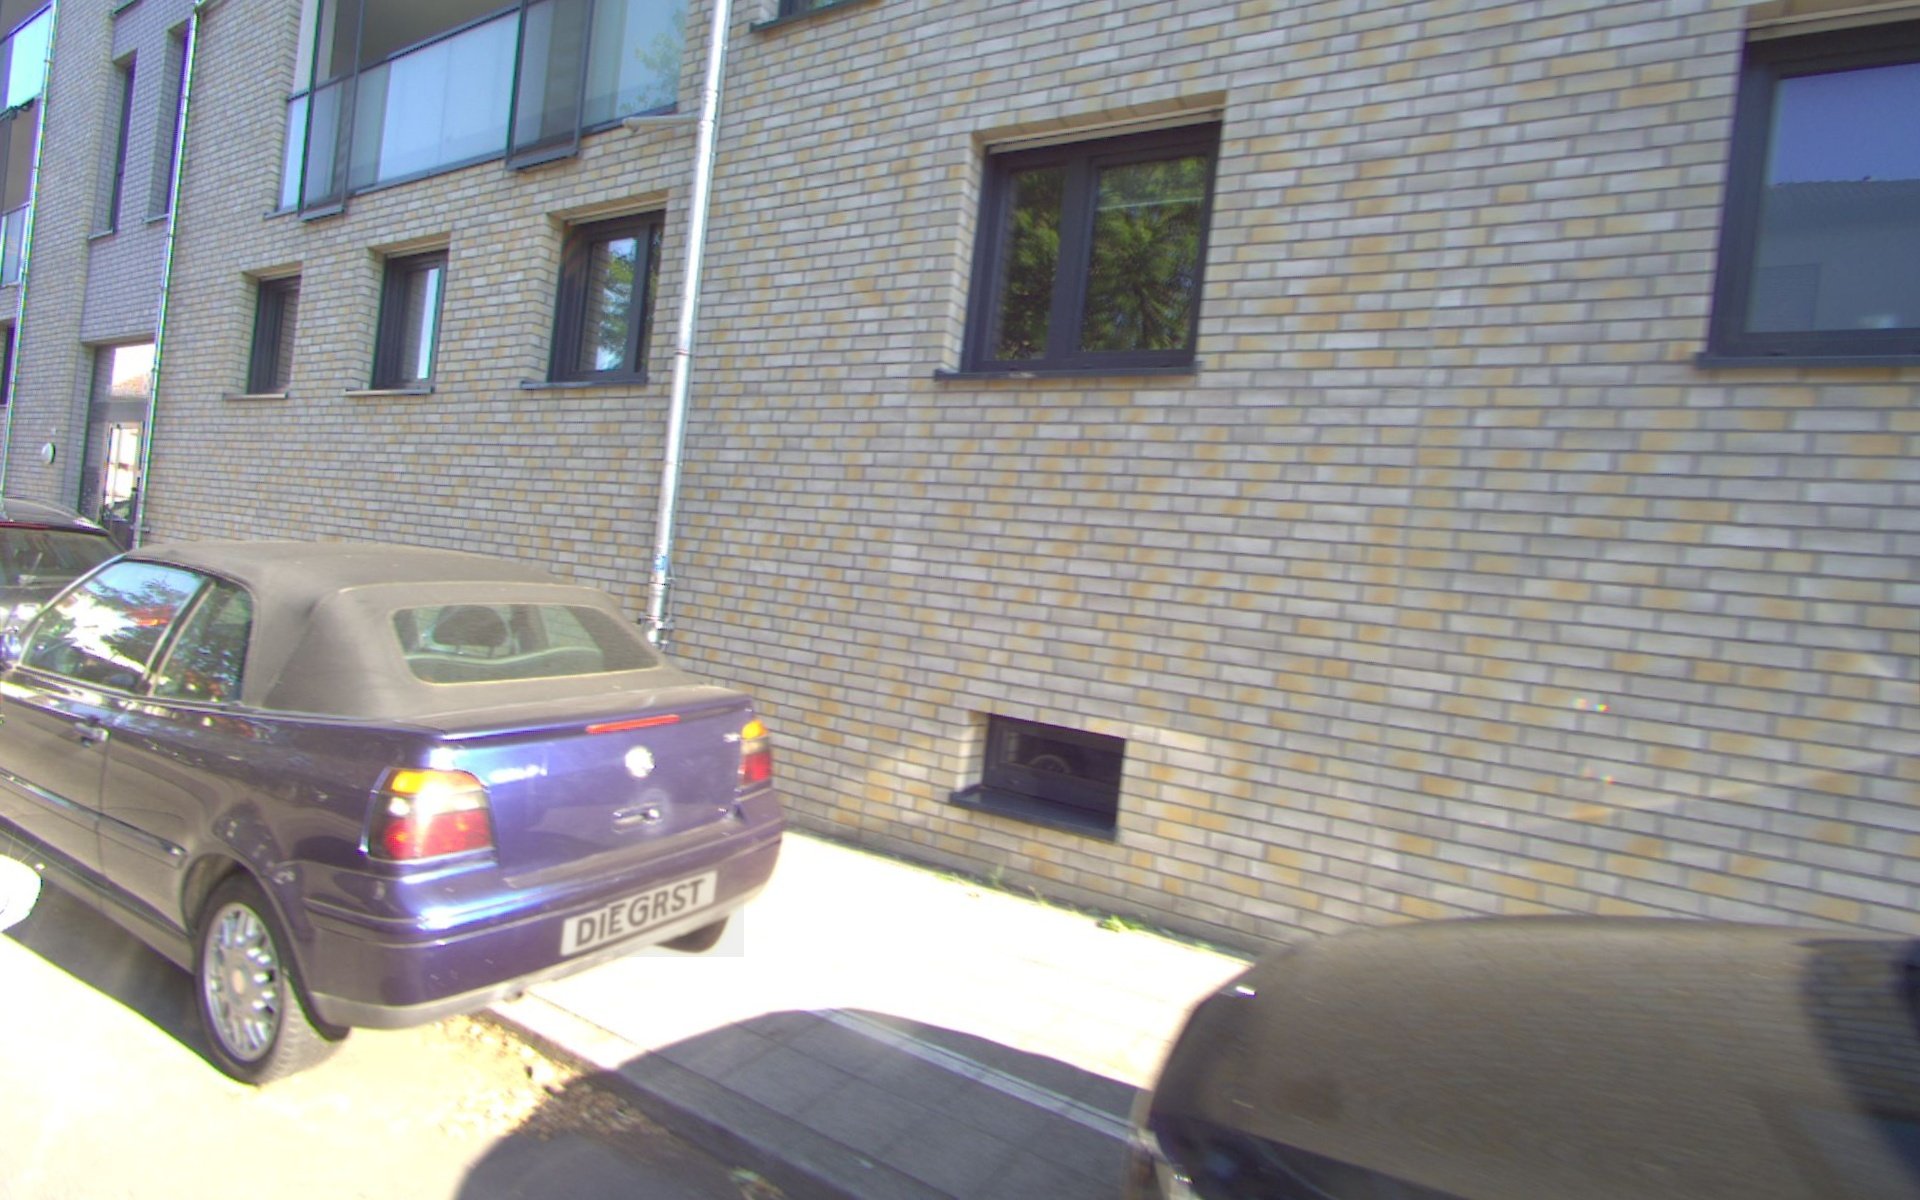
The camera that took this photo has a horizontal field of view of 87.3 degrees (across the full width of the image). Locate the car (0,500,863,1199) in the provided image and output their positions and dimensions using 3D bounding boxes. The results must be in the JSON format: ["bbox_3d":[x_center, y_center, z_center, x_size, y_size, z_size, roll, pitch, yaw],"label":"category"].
[{"bbox_3d":[-2.619,0.518,4.003,4.147,1.536,1.665,7,1,30],"label":"car"}]

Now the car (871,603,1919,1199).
[{"bbox_3d":[2.246,1.015,0.950,4.549,1.550,1.725,7,3,32],"label":"car"}]

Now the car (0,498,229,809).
[{"bbox_3d":[-6.640,0.057,6.127,4.639,1.486,1.698,7,1,29],"label":"car"}]
